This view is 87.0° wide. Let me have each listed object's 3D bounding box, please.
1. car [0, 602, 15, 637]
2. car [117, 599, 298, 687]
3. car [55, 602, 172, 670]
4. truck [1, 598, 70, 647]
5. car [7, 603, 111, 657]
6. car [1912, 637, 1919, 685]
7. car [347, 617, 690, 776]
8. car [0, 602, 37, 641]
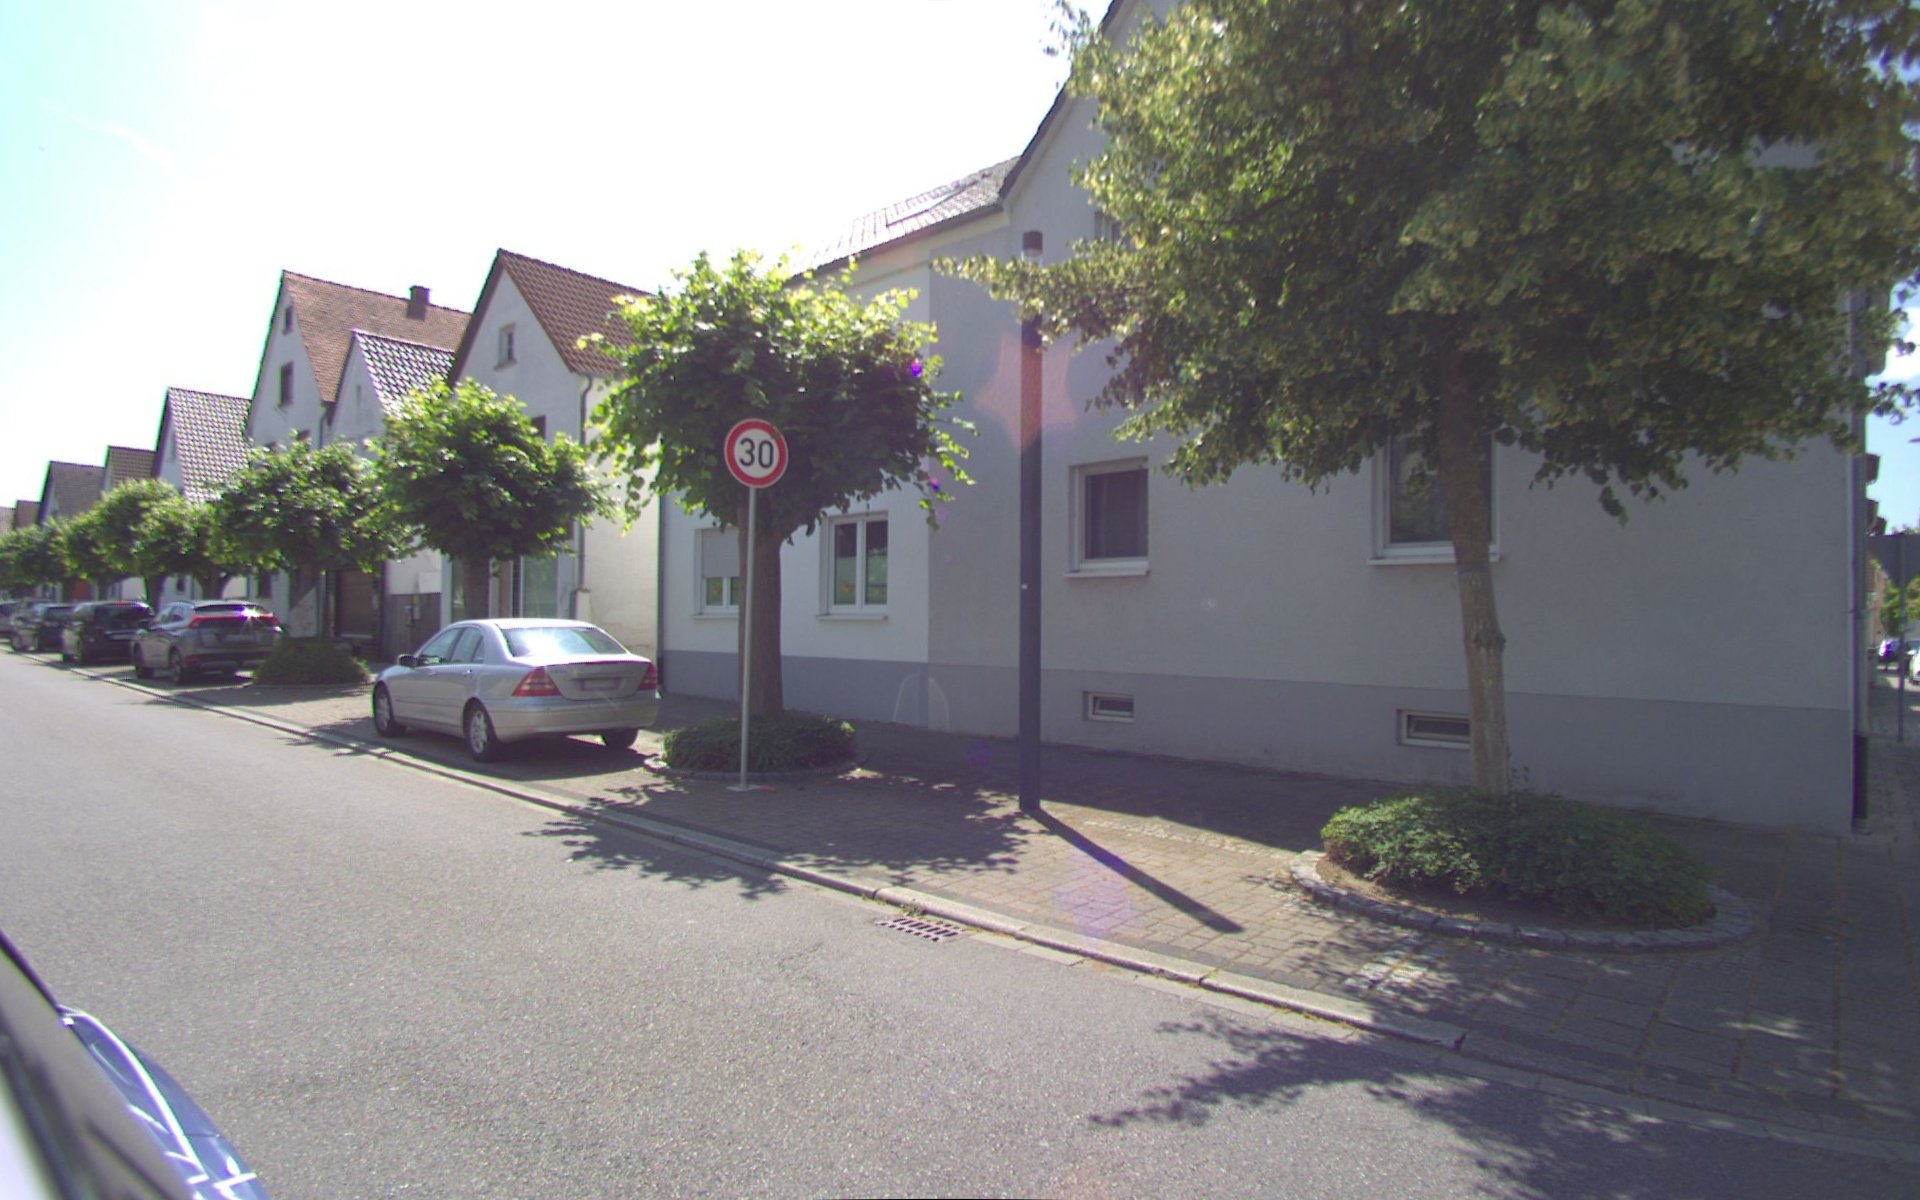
[{"bbox_3d":[-47.758,0.968,49.485,4.297,1.649,1.833,-1,0,42],"label":"car"},{"bbox_3d":[-15.829,0.840,21.221,4.362,1.665,1.974,0,-1,38],"label":"car"},{"bbox_3d":[-22.573,0.893,26.943,4.055,1.647,1.833,0,0,42],"label":"car"},{"bbox_3d":[-36.013,0.837,39.398,4.191,1.778,1.559,0,1,42],"label":"truck"},{"bbox_3d":[-29.529,0.934,33.147,3.992,1.646,1.769,0,0,36],"label":"car"},{"bbox_3d":[31.812,1.962,32.258,2.001,1.460,4.287,2,0,45],"label":"car"},{"bbox_3d":[-5.062,0.907,11.301,4.404,1.406,1.821,0,-1,41],"label":"car"},{"bbox_3d":[-42.286,0.940,44.691,4.369,1.625,1.833,0,1,42],"label":"car"}]
